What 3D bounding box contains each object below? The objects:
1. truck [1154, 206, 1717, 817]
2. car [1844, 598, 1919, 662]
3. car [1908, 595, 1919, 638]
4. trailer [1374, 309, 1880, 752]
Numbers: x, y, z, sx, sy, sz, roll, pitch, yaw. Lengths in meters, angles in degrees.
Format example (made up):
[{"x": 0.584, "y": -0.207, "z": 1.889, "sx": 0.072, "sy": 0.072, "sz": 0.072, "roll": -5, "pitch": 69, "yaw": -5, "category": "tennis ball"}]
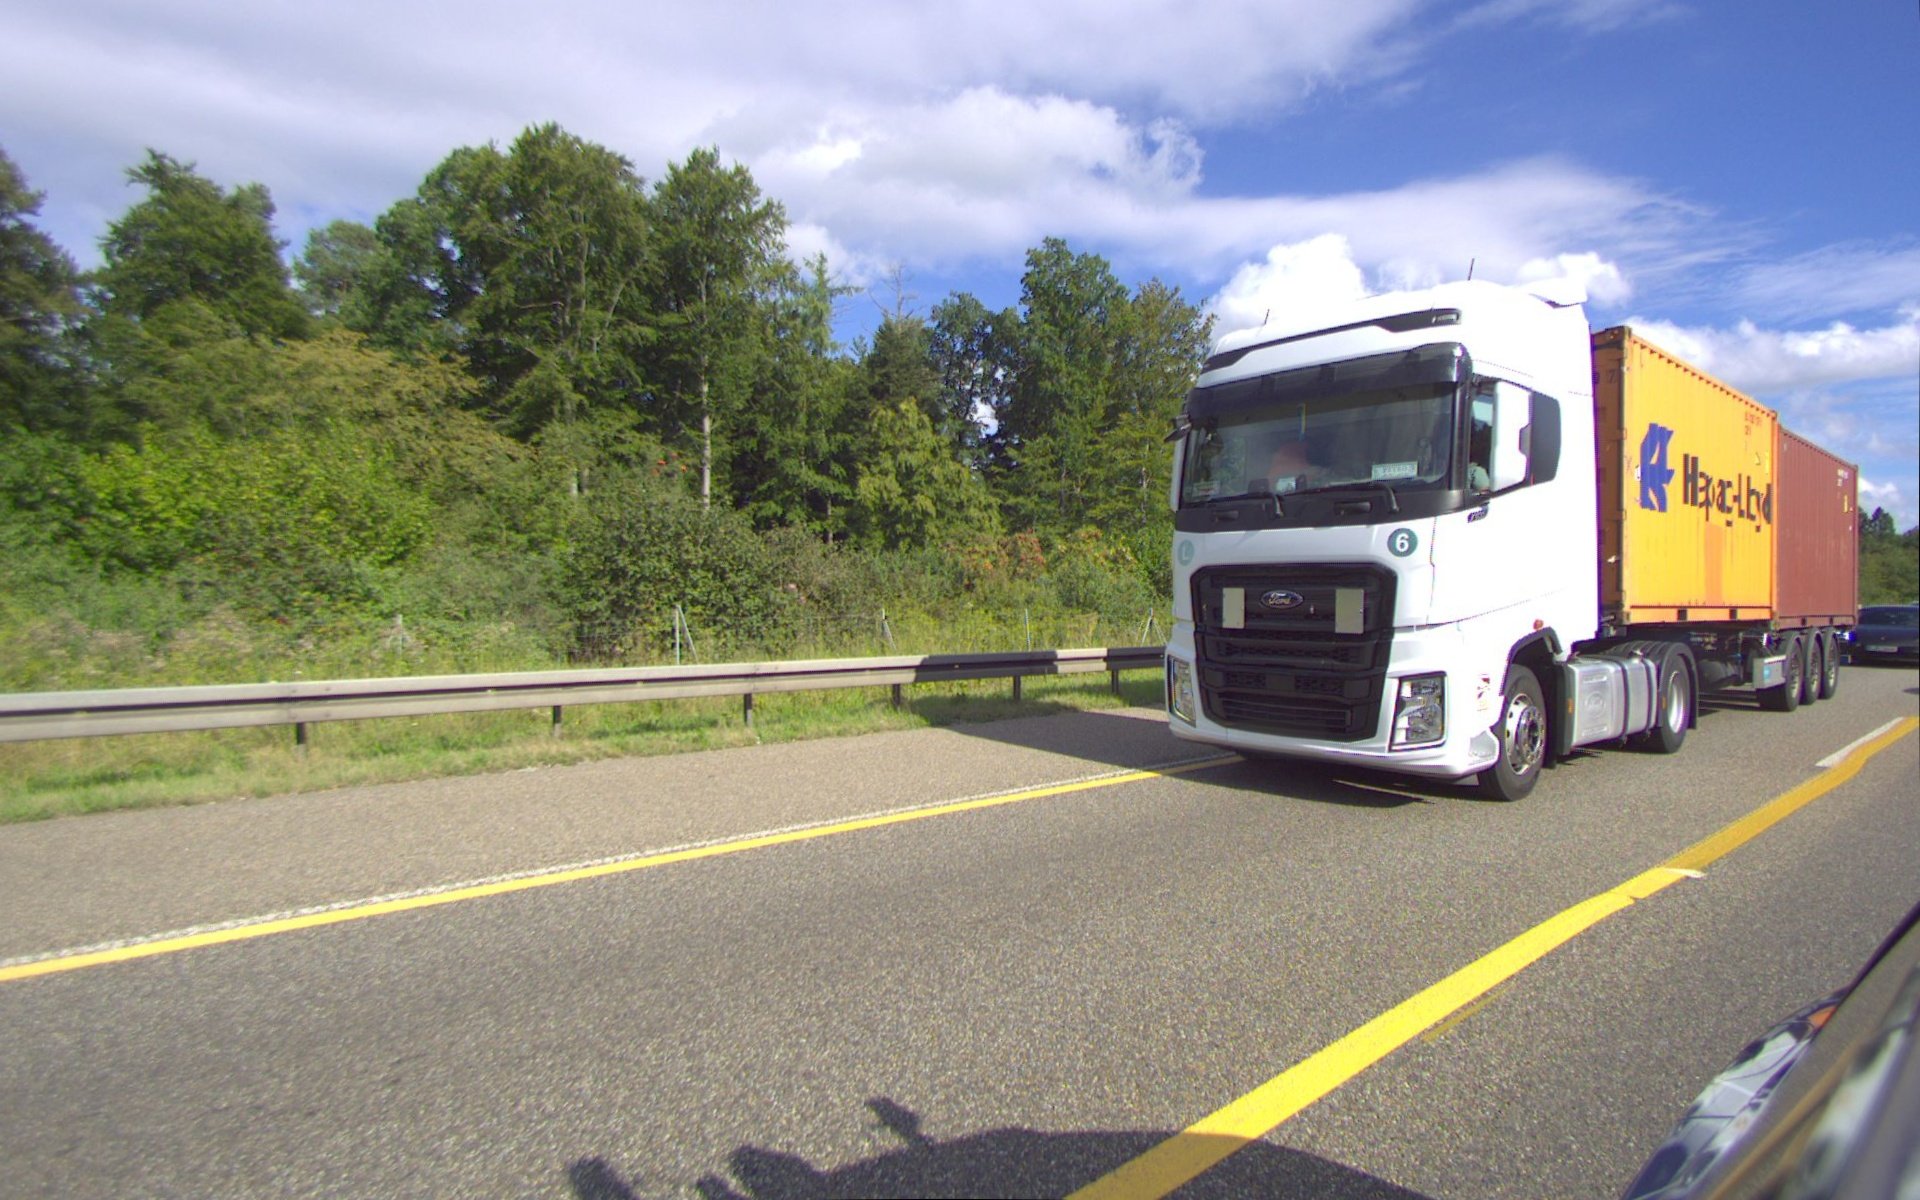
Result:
[{"x": 4.543, "y": -0.585, "z": 9.145, "sx": 5.688, "sy": 3.828, "sz": 2.499, "roll": 0, "pitch": 0, "yaw": -40, "category": "truck"}, {"x": 22.281, "y": 0.652, "z": 23.570, "sx": 4.399, "sy": 1.367, "sz": 1.932, "roll": 0, "pitch": 0, "yaw": -41, "category": "car"}, {"x": 35.453, "y": 0.574, "z": 36.269, "sx": 3.898, "sy": 1.498, "sz": 1.761, "roll": -1, "pitch": 1, "yaw": -40, "category": "car"}, {"x": 9.674, "y": -0.625, "z": 13.573, "sx": 11.922, "sy": 3.822, "sz": 2.476, "roll": 0, "pitch": 0, "yaw": -41, "category": "trailer"}]
